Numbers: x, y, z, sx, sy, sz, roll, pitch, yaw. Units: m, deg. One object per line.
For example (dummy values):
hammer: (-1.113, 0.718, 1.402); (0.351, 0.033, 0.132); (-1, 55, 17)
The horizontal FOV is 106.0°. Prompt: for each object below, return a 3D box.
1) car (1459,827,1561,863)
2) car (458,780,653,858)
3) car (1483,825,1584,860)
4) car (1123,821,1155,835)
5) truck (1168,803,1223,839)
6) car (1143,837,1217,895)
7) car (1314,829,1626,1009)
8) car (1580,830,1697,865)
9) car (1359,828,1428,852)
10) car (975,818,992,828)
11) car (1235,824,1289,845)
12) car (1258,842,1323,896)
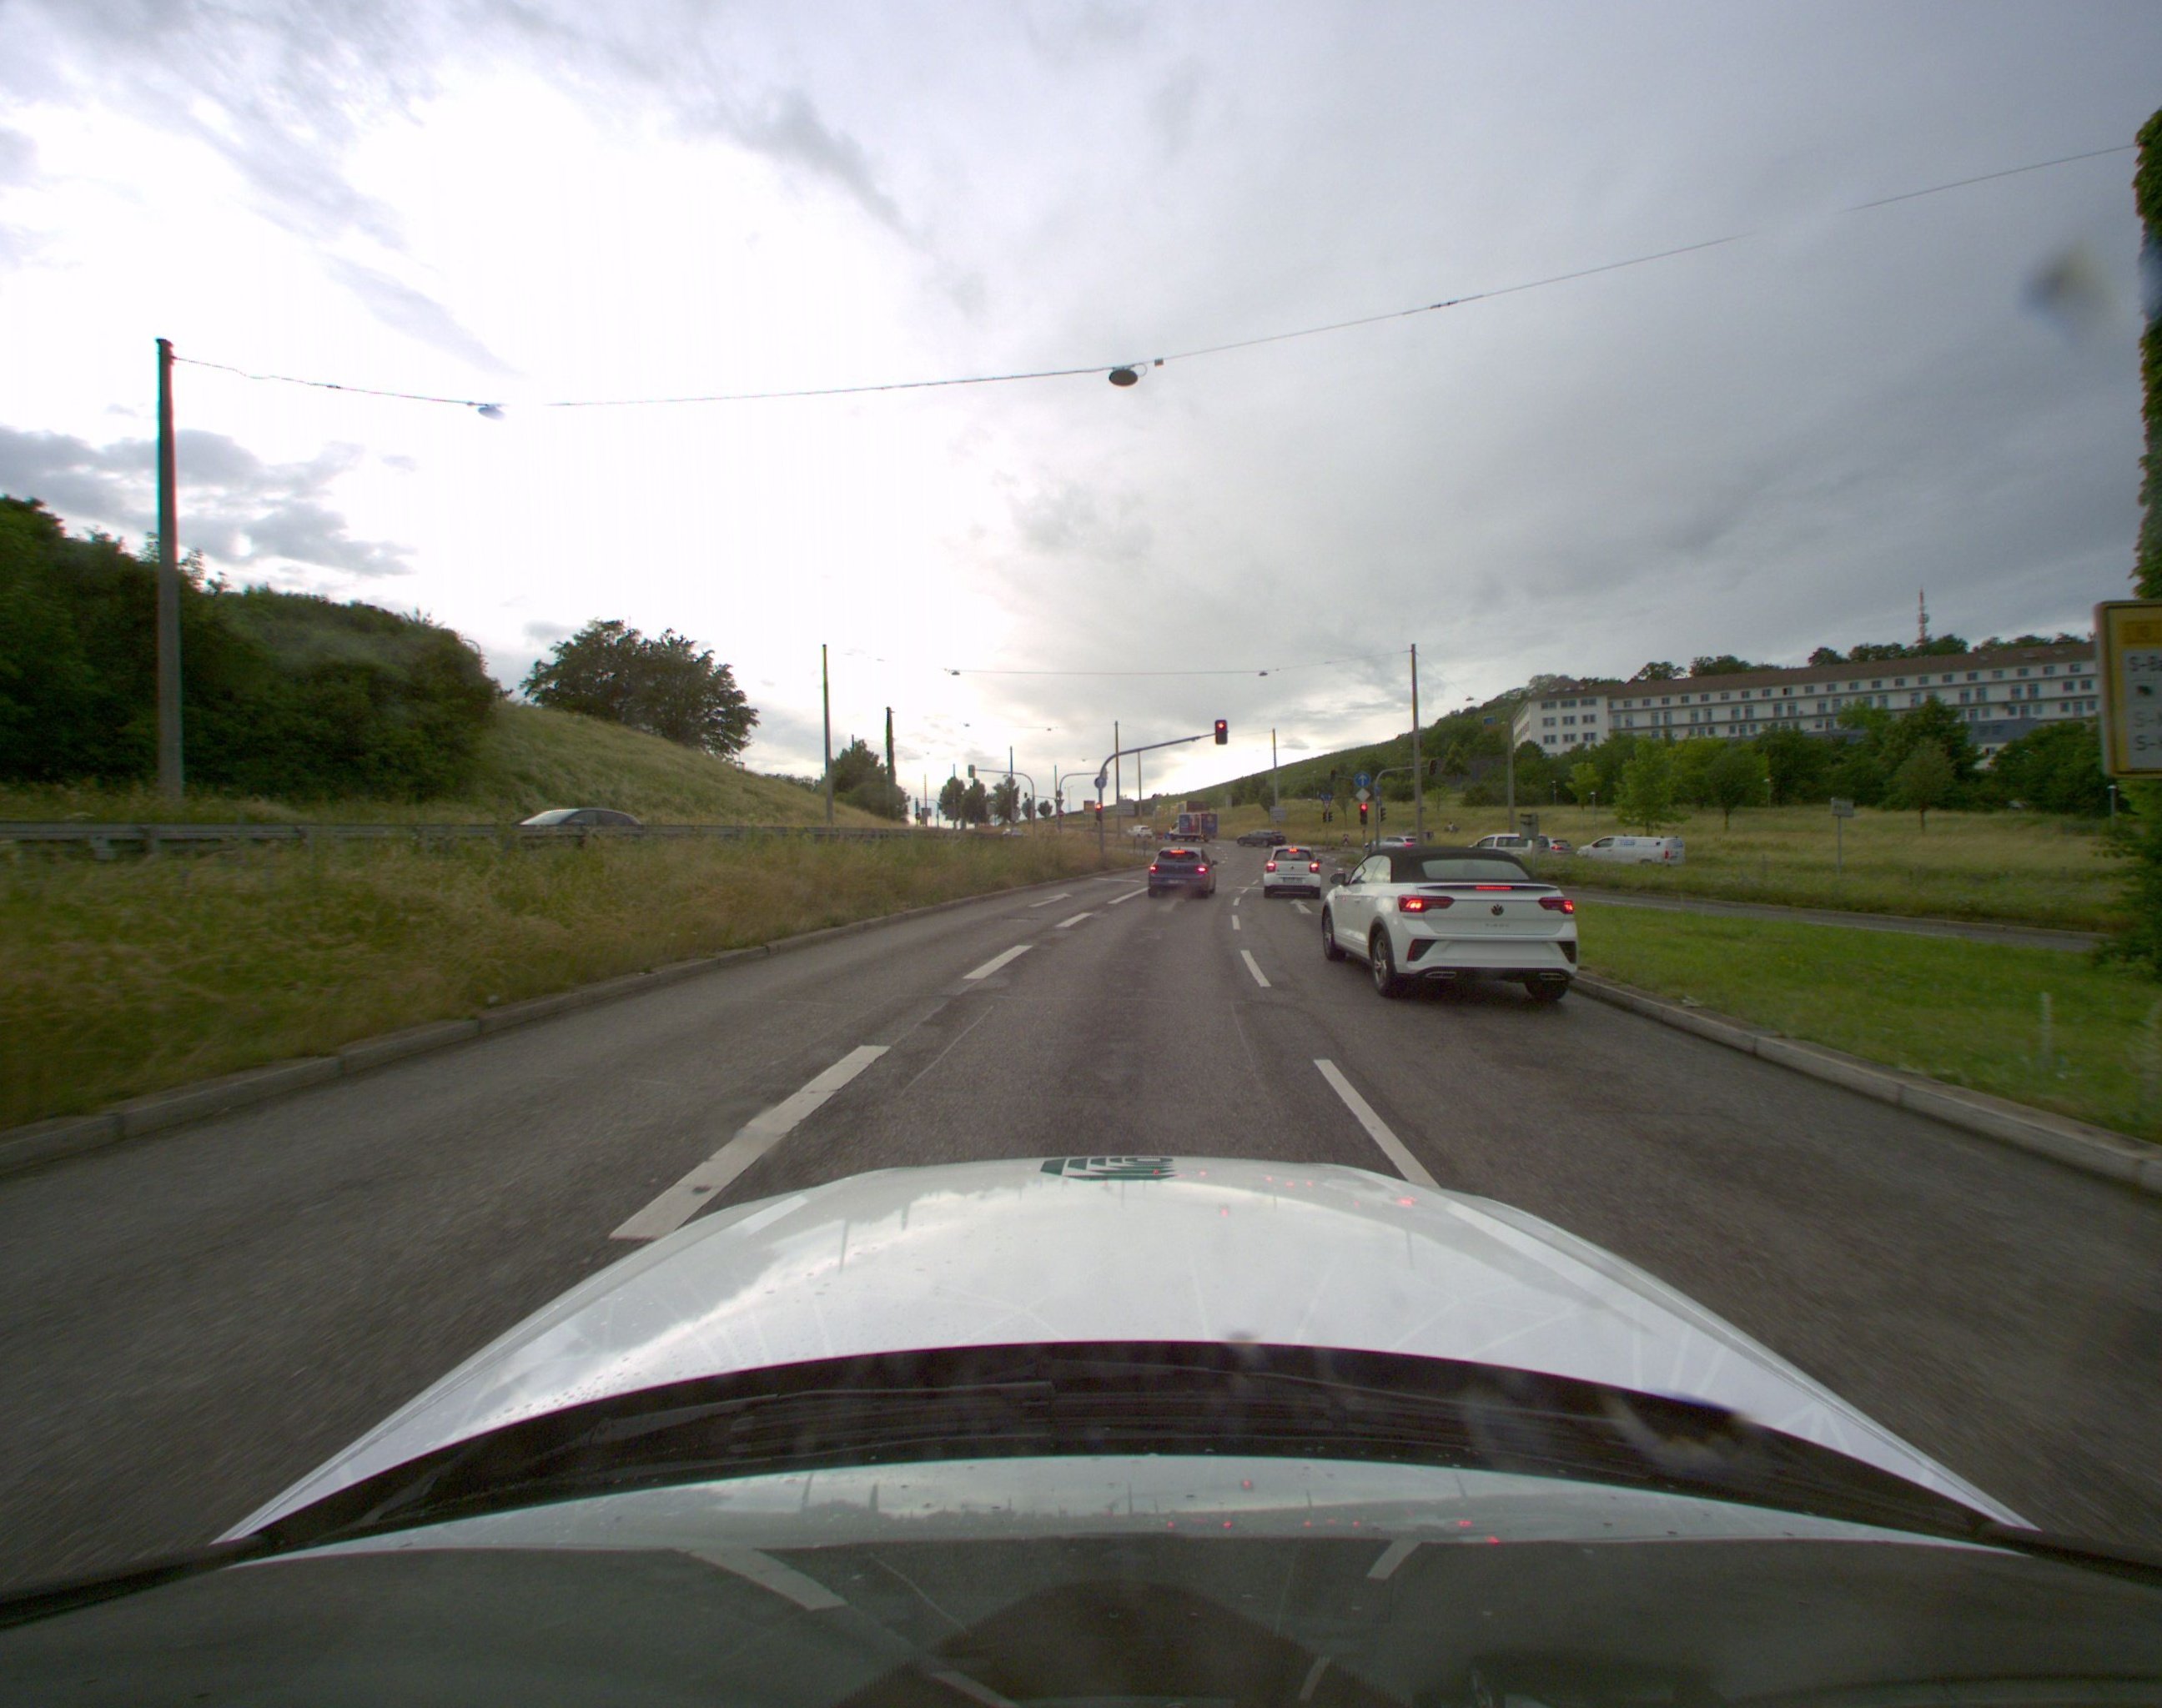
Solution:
car: (23.142, -0.527, 44.095); (2.006, 1.711, 4.521); (-3, 4, -30)
car: (-12.688, -0.812, 19.991); (1.701, 1.656, 4.011); (3, 1, 9)
car: (25.349, -0.688, 45.785); (2.006, 1.711, 4.622); (-3, 4, -30)
car: (6.854, -3.066, 96.257); (2.001, 1.500, 4.532); (-3, 4, -21)
truck: (11.833, -3.472, 84.750); (2.861, 3.526, 6.188); (-3, 4, -23)
car: (3.101, 0.330, 24.742); (1.914, 1.599, 4.074); (-1, 0, 11)
car: (4.101, 0.554, 9.451); (1.986, 1.578, 4.133); (1, 1, 6)
car: (30.035, -0.384, 44.028); (2.004, 1.693, 4.856); (-1, 3, -26)
car: (22.684, -1.048, 59.294); (2.004, 1.605, 4.524); (-1, 3, -27)
car: (-19.004, -6.041, 159.146); (2.003, 1.711, 4.526); (-3, 2, -25)
car: (16.187, -1.768, 73.014); (2.009, 1.711, 4.515); (-4, 4, -35)
car: (6.443, 0.398, 25.047); (1.761, 1.519, 3.740); (1, 1, 15)
